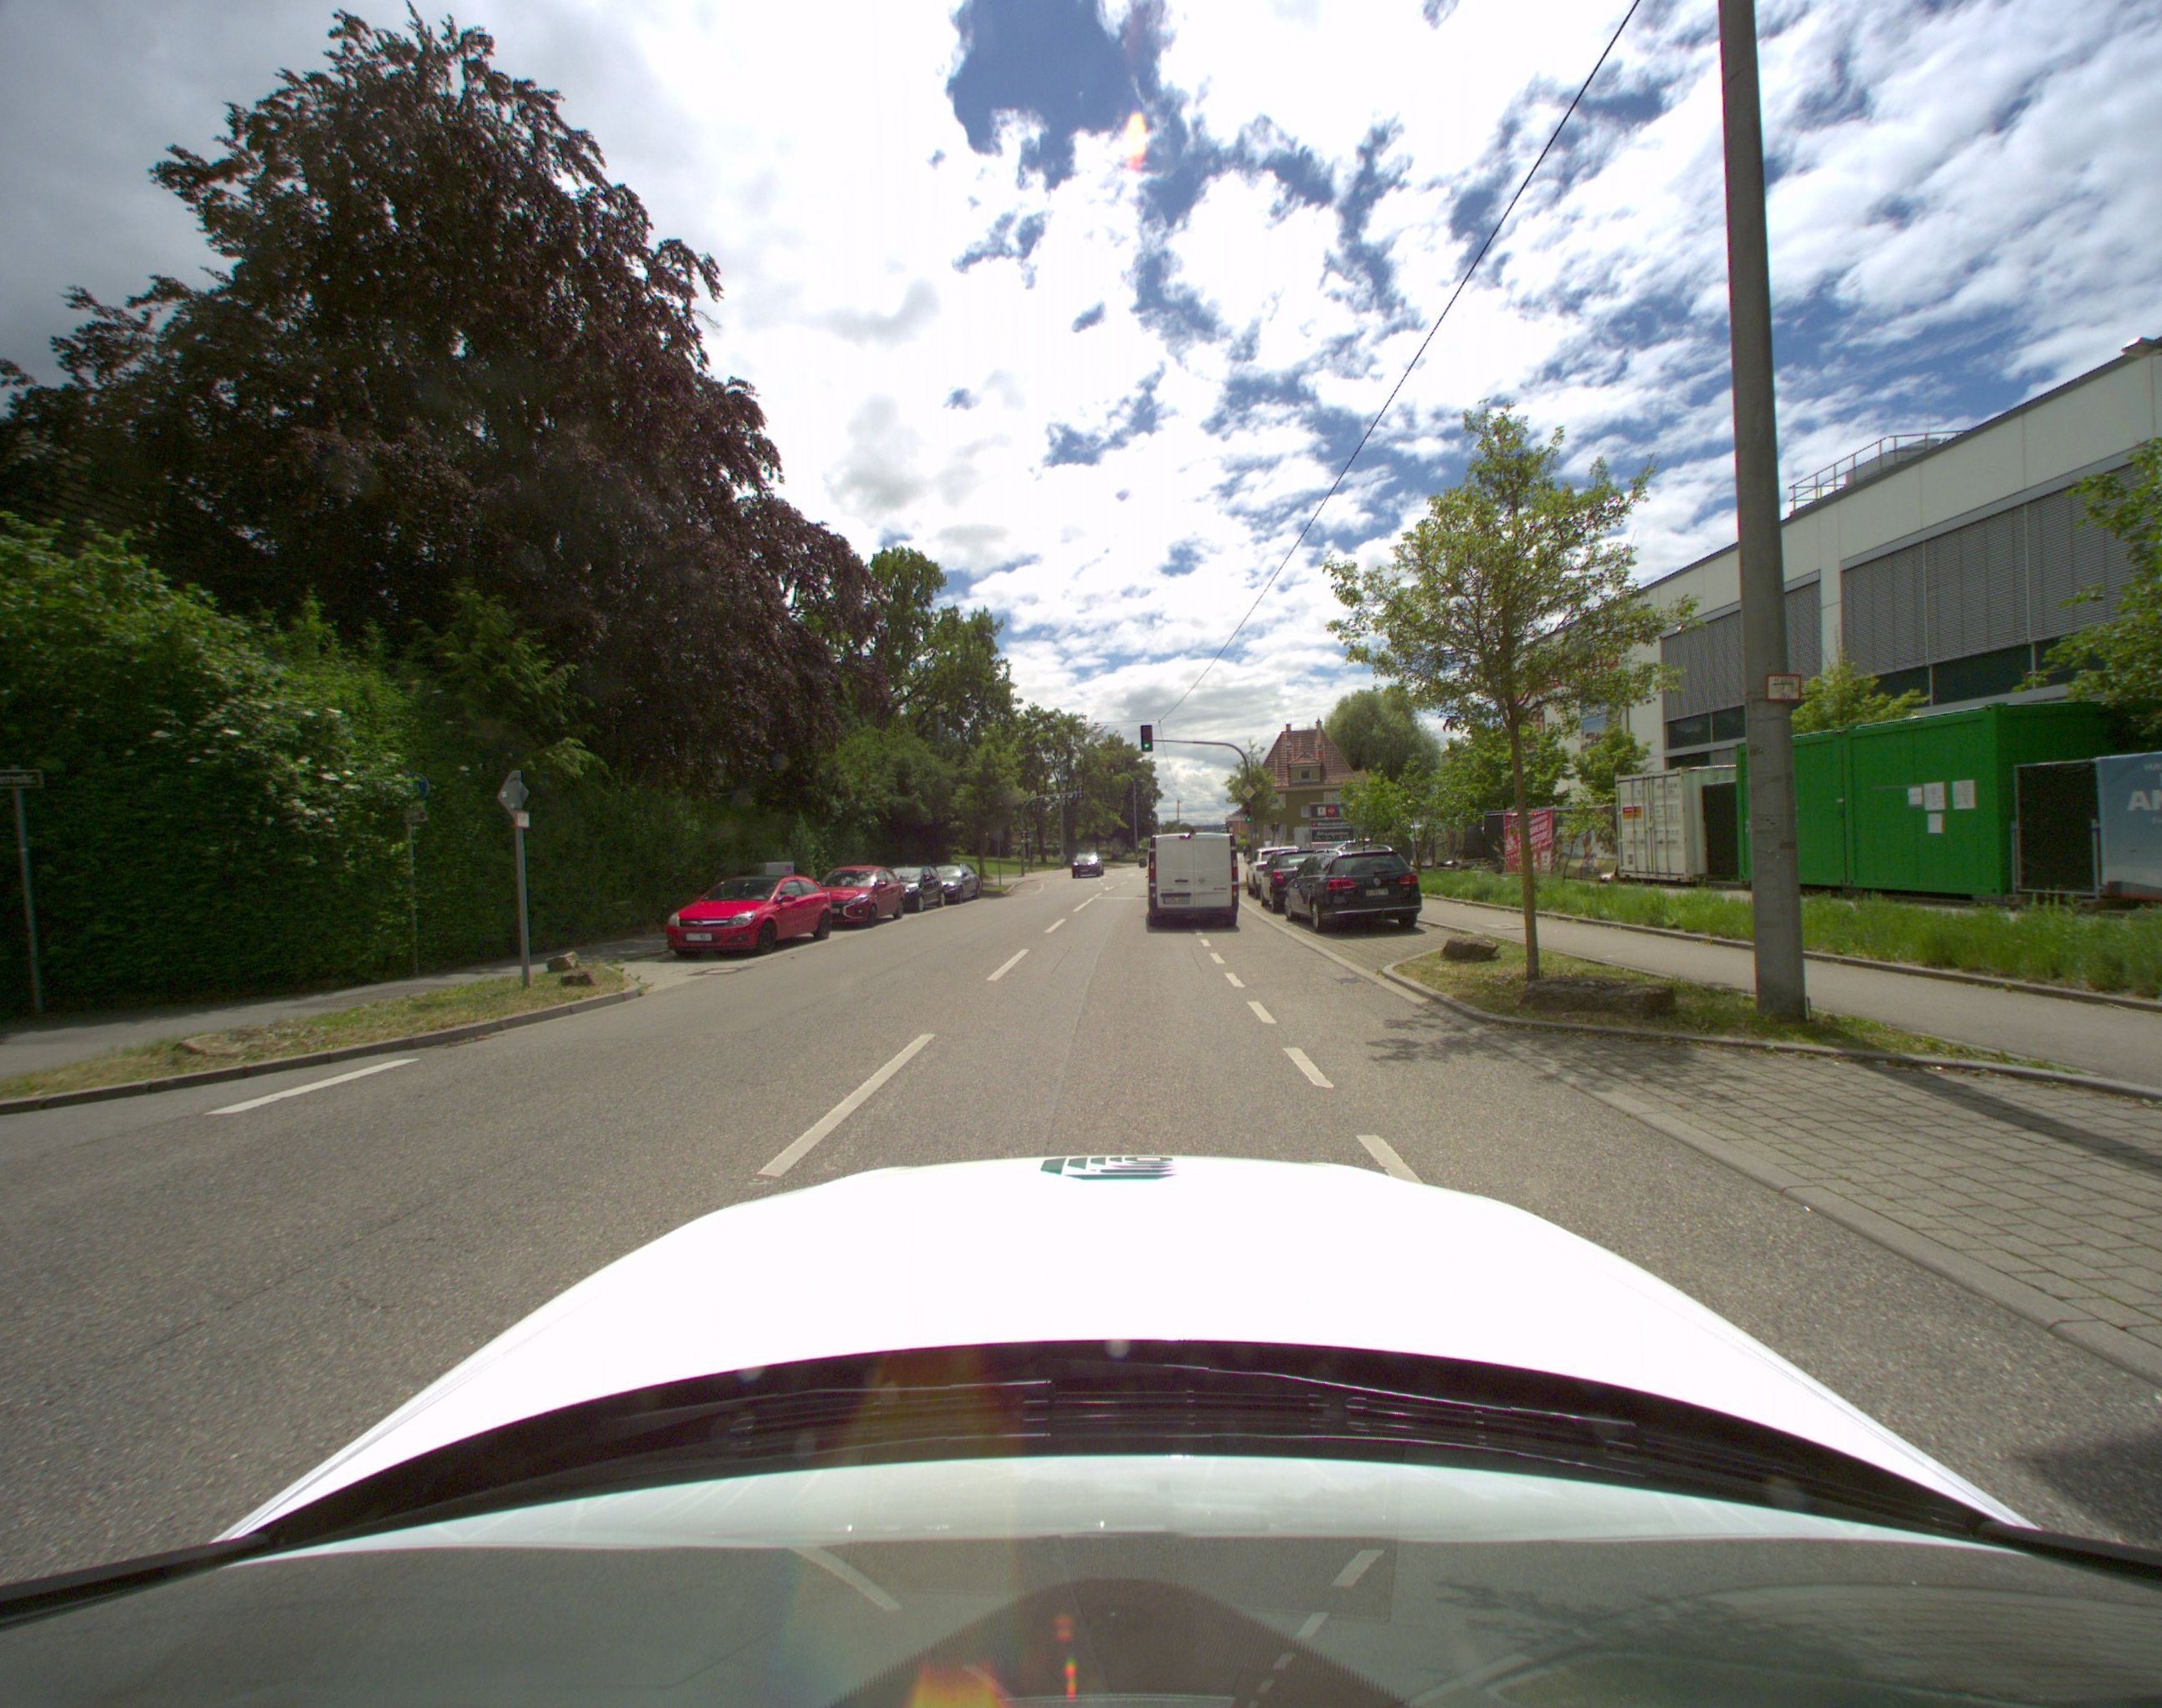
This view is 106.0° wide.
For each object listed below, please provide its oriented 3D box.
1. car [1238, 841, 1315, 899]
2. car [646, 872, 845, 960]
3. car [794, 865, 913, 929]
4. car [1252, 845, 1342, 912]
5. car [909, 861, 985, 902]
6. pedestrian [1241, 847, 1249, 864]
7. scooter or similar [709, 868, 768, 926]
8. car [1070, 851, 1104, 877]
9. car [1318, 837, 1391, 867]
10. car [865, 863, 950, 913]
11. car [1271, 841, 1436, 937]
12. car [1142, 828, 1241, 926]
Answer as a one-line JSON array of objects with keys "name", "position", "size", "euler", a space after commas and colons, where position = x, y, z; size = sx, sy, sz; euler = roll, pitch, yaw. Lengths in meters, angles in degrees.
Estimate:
[{"name": "car", "position": [6.301, 0.499, 26.664], "size": [1.728, 1.616, 4.393], "euler": [-5, -1, 5]}, {"name": "car", "position": [-6.325, 1.093, 16.008], "size": [1.652, 1.378, 4.573], "euler": [-1, 0, 5]}, {"name": "car", "position": [-5.807, 1.040, 21.297], "size": [1.642, 1.450, 4.110], "euler": [-1, 0, 5]}, {"name": "car", "position": [5.479, 0.577, 21.080], "size": [1.560, 1.493, 4.006], "euler": [-3, 0, 6]}, {"name": "car", "position": [-4.887, 0.979, 30.443], "size": [1.687, 1.365, 4.692], "euler": [0, 0, 5]}, {"name": "pedestrian", "position": [15.527, 0.118, 77.263], "size": [0.674, 1.553, 0.838], "euler": [-4, -2, 11]}, {"name": "scooter or similar", "position": [-8.874, 1.097, 21.167], "size": [0.667, 1.412, 1.652], "euler": [-1, 0, 7]}, {"name": "car", "position": [0.432, 0.644, 55.246], "size": [1.824, 1.616, 4.159], "euler": [-3, 0, 5]}, {"name": "car", "position": [16.865, -0.117, 50.333], "size": [3.967, 1.606, 1.611], "euler": [-4, 0, 5]}, {"name": "car", "position": [-5.495, 1.034, 26.165], "size": [1.587, 1.450, 3.602], "euler": [-1, 0, 6]}, {"name": "car", "position": [5.117, 0.596, 16.059], "size": [1.757, 1.477, 4.940], "euler": [-5, -1, 3]}, {"name": "car", "position": [2.397, 0.457, 18.743], "size": [1.930, 1.960, 4.838], "euler": [0, 0, 4]}]
